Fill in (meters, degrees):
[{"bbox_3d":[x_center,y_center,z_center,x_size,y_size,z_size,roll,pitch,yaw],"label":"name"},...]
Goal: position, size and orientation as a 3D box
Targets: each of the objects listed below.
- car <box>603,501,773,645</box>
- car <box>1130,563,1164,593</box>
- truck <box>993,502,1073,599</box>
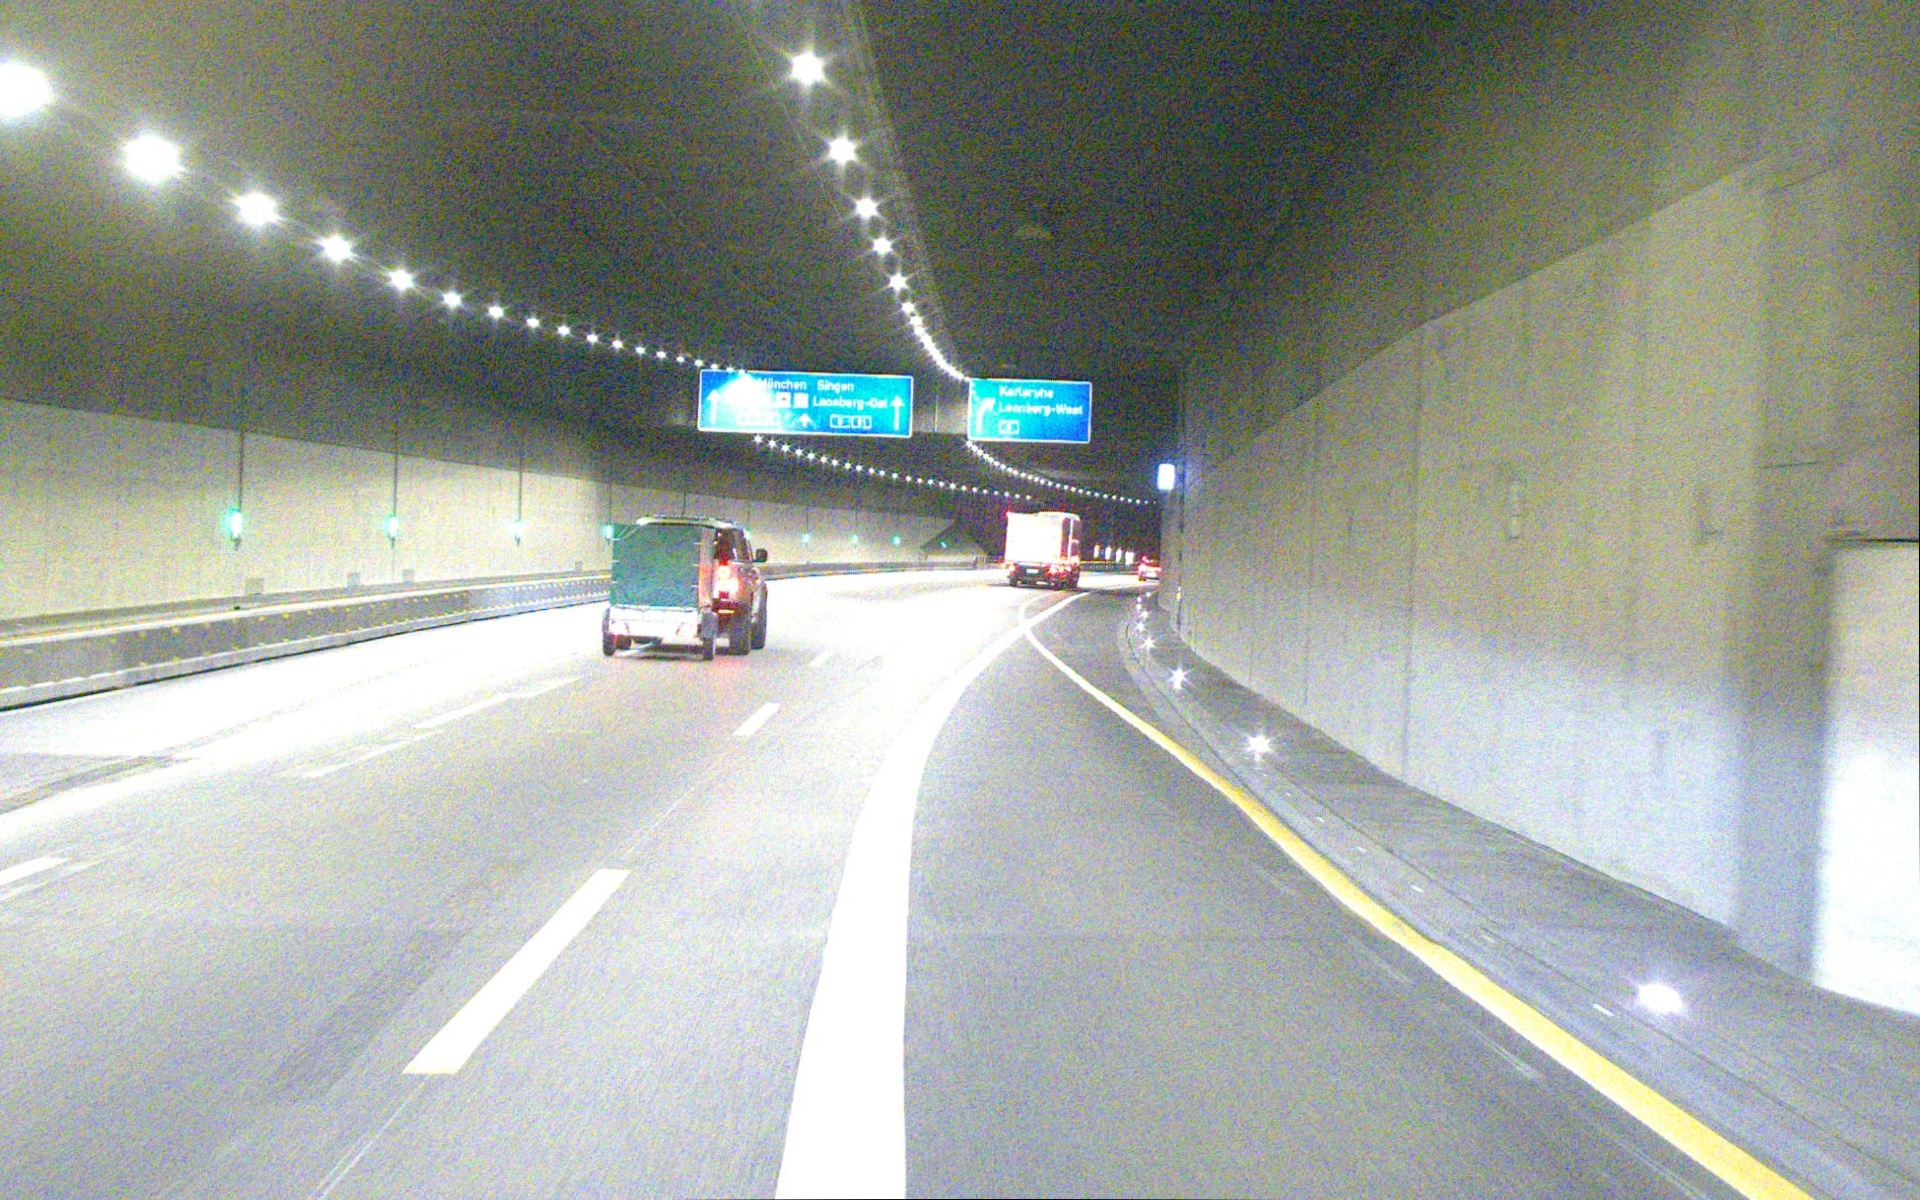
[{"bbox_3d":[-3.920,-0.335,50.337,1.993,1.889,5.453,1,-1,0],"label":"car"},{"bbox_3d":[12.155,-1.443,223.482,1.994,1.888,5.531,1,1,5],"label":"car"},{"bbox_3d":[3.527,-2.357,163.595,3.474,4.301,10.951,3,1,2],"label":"truck"}]
